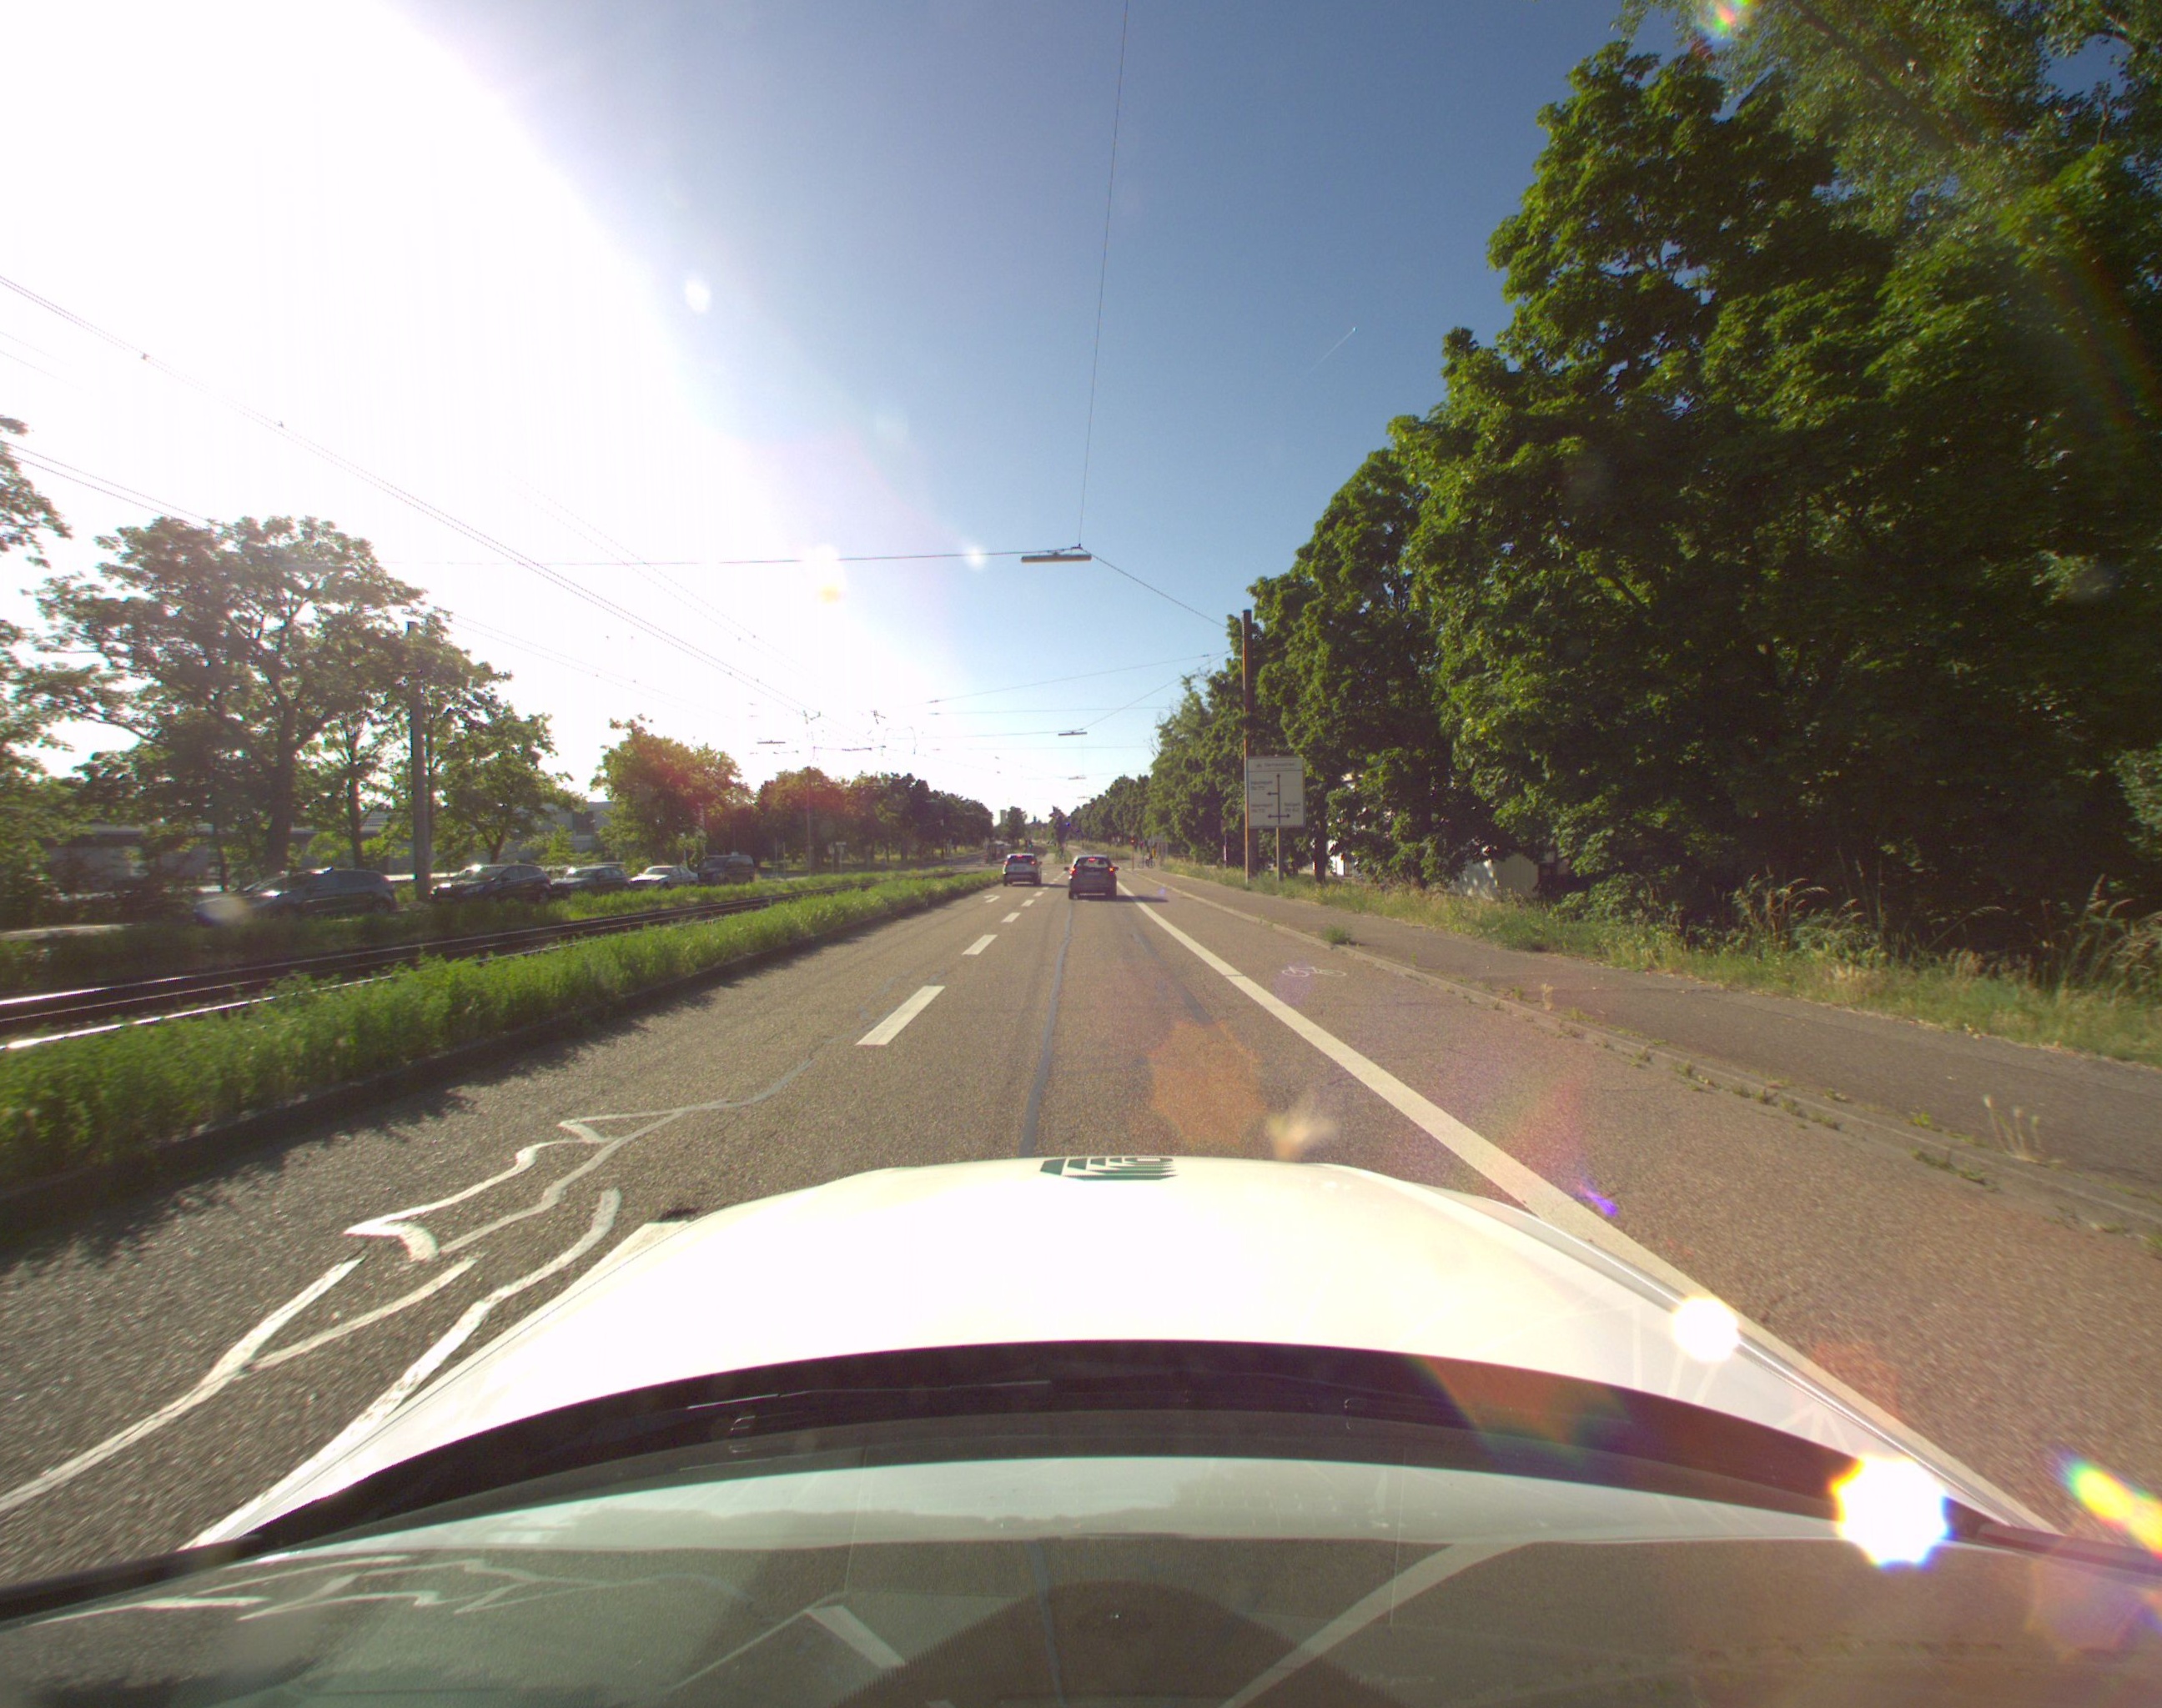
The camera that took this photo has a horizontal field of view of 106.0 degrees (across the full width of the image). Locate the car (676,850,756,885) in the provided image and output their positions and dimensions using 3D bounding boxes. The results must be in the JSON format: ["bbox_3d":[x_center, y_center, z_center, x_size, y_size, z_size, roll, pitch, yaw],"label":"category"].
[{"bbox_3d":[-20.727,0.711,46.486,2.188,1.891,4.794,0,0,2],"label":"car"}]

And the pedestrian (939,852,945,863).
[{"bbox_3d":[-25.545,0.694,149.724,0.837,2.013,0.863,0,0,-1],"label":"pedestrian"}]

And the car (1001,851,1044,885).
[{"bbox_3d":[-2.930,0.678,41.526,1.845,1.606,4.254,0,0,0],"label":"car"}]

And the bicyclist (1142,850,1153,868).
[{"bbox_3d":[6.643,0.506,81.014,0.904,1.745,0.766,-2,-1,11],"label":"bicyclist"}]

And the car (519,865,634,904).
[{"bbox_3d":[-20.803,1.206,33.830,1.987,1.437,4.415,0,0,0],"label":"car"}]

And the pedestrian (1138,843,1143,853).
[{"bbox_3d":[9.891,-1.048,135.086,0.676,1.610,0.720,1,0,-2],"label":"pedestrian"}]

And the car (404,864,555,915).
[{"bbox_3d":[-20.710,1.165,28.319,1.988,1.574,4.433,0,0,-1],"label":"car"}]

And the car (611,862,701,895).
[{"bbox_3d":[-20.845,1.166,40.196,1.922,1.437,4.695,0,0,1],"label":"car"}]

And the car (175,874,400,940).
[{"bbox_3d":[-20.726,1.318,21.586,1.730,1.494,4.325,1,0,-2],"label":"car"}]

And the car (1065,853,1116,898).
[{"bbox_3d":[0.374,0.726,29.263,1.701,1.509,4.001,0,0,1],"label":"car"}]

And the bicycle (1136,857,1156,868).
[{"bbox_3d":[6.448,0.883,81.051,1.907,0.998,0.766,-3,-1,11],"label":"bicycle"}]
